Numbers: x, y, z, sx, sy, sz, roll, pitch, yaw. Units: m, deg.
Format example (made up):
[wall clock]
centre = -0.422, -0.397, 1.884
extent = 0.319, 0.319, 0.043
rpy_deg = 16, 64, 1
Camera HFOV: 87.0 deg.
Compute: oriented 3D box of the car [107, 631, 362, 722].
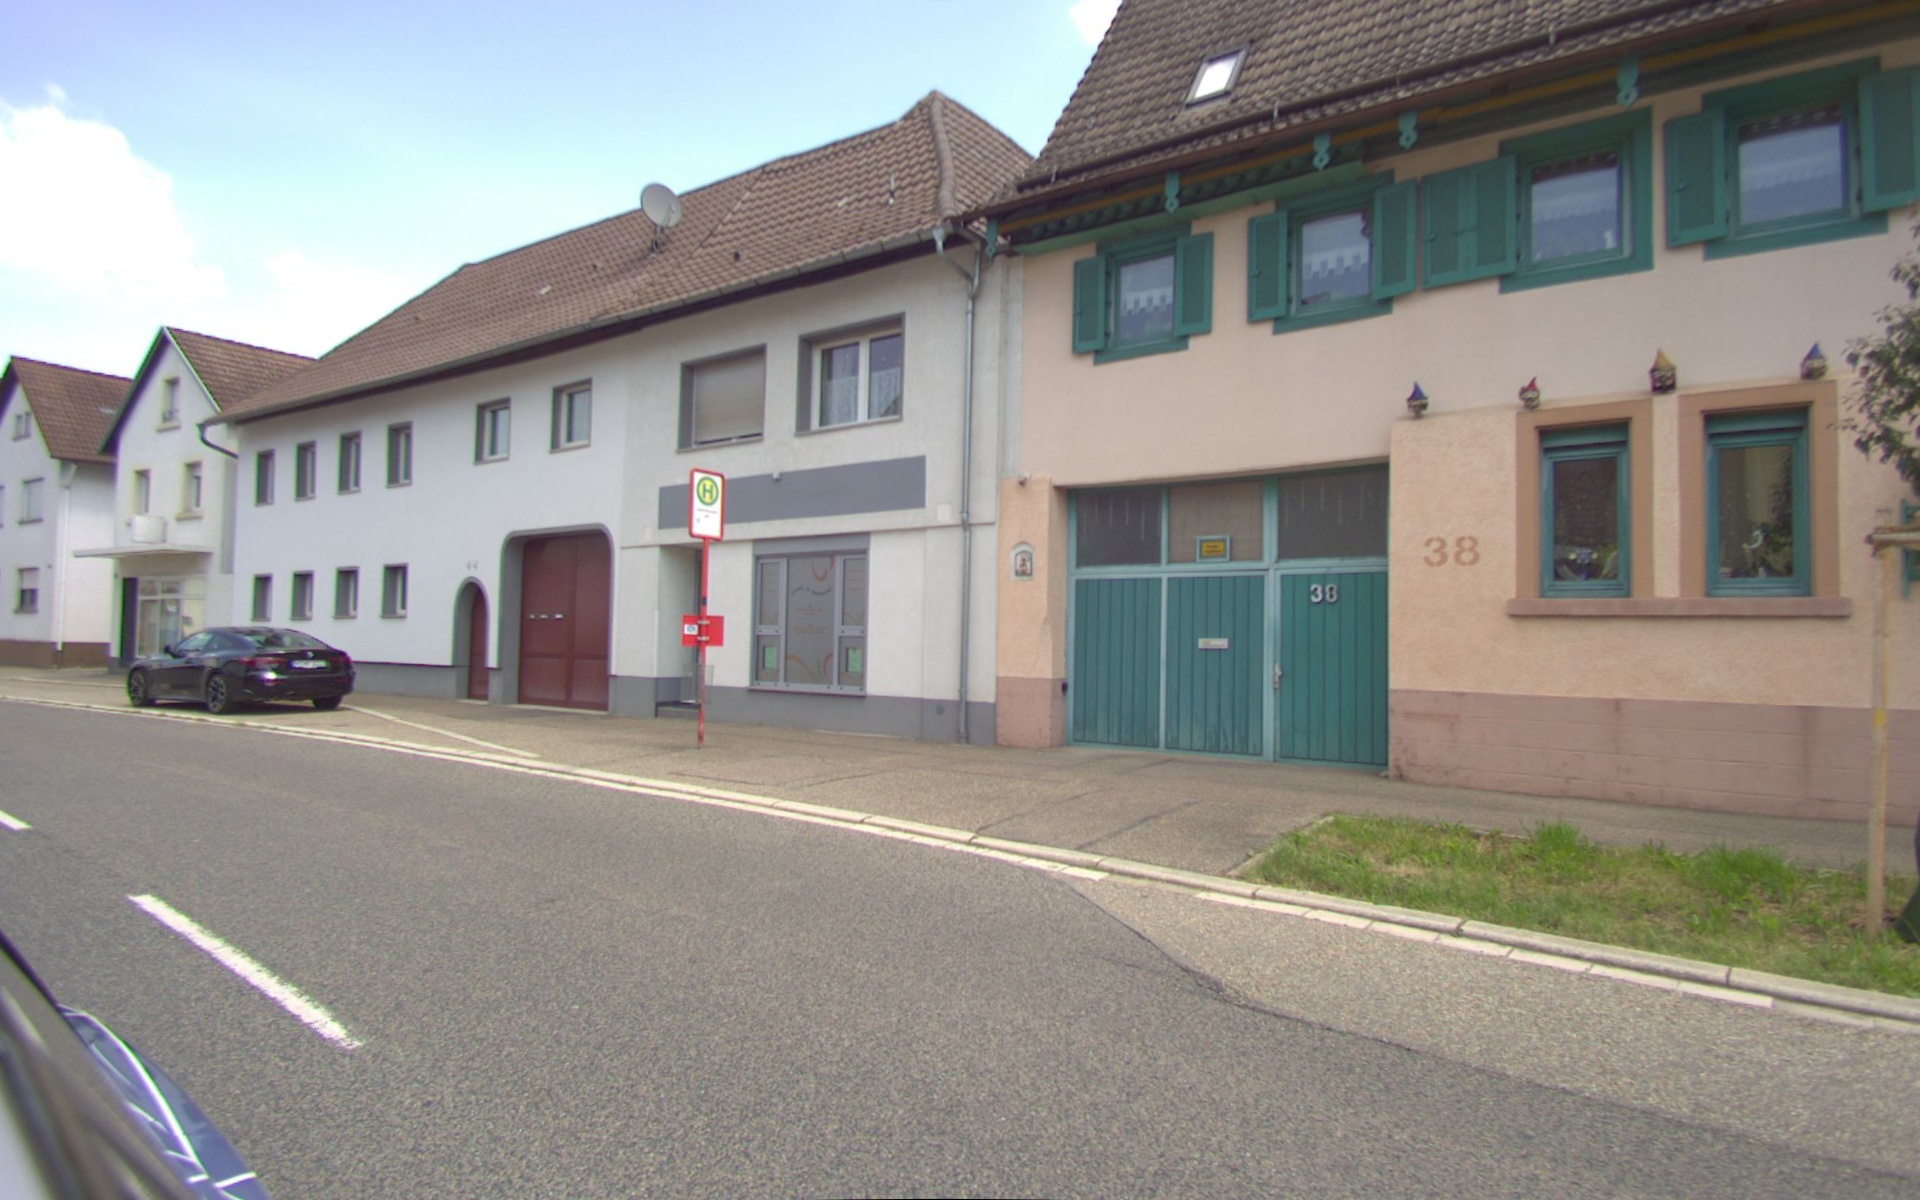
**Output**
[car]
centre = -12.365, 1.223, 17.163
extent = 4.738, 1.359, 1.753
rpy_deg = -2, -3, 31
